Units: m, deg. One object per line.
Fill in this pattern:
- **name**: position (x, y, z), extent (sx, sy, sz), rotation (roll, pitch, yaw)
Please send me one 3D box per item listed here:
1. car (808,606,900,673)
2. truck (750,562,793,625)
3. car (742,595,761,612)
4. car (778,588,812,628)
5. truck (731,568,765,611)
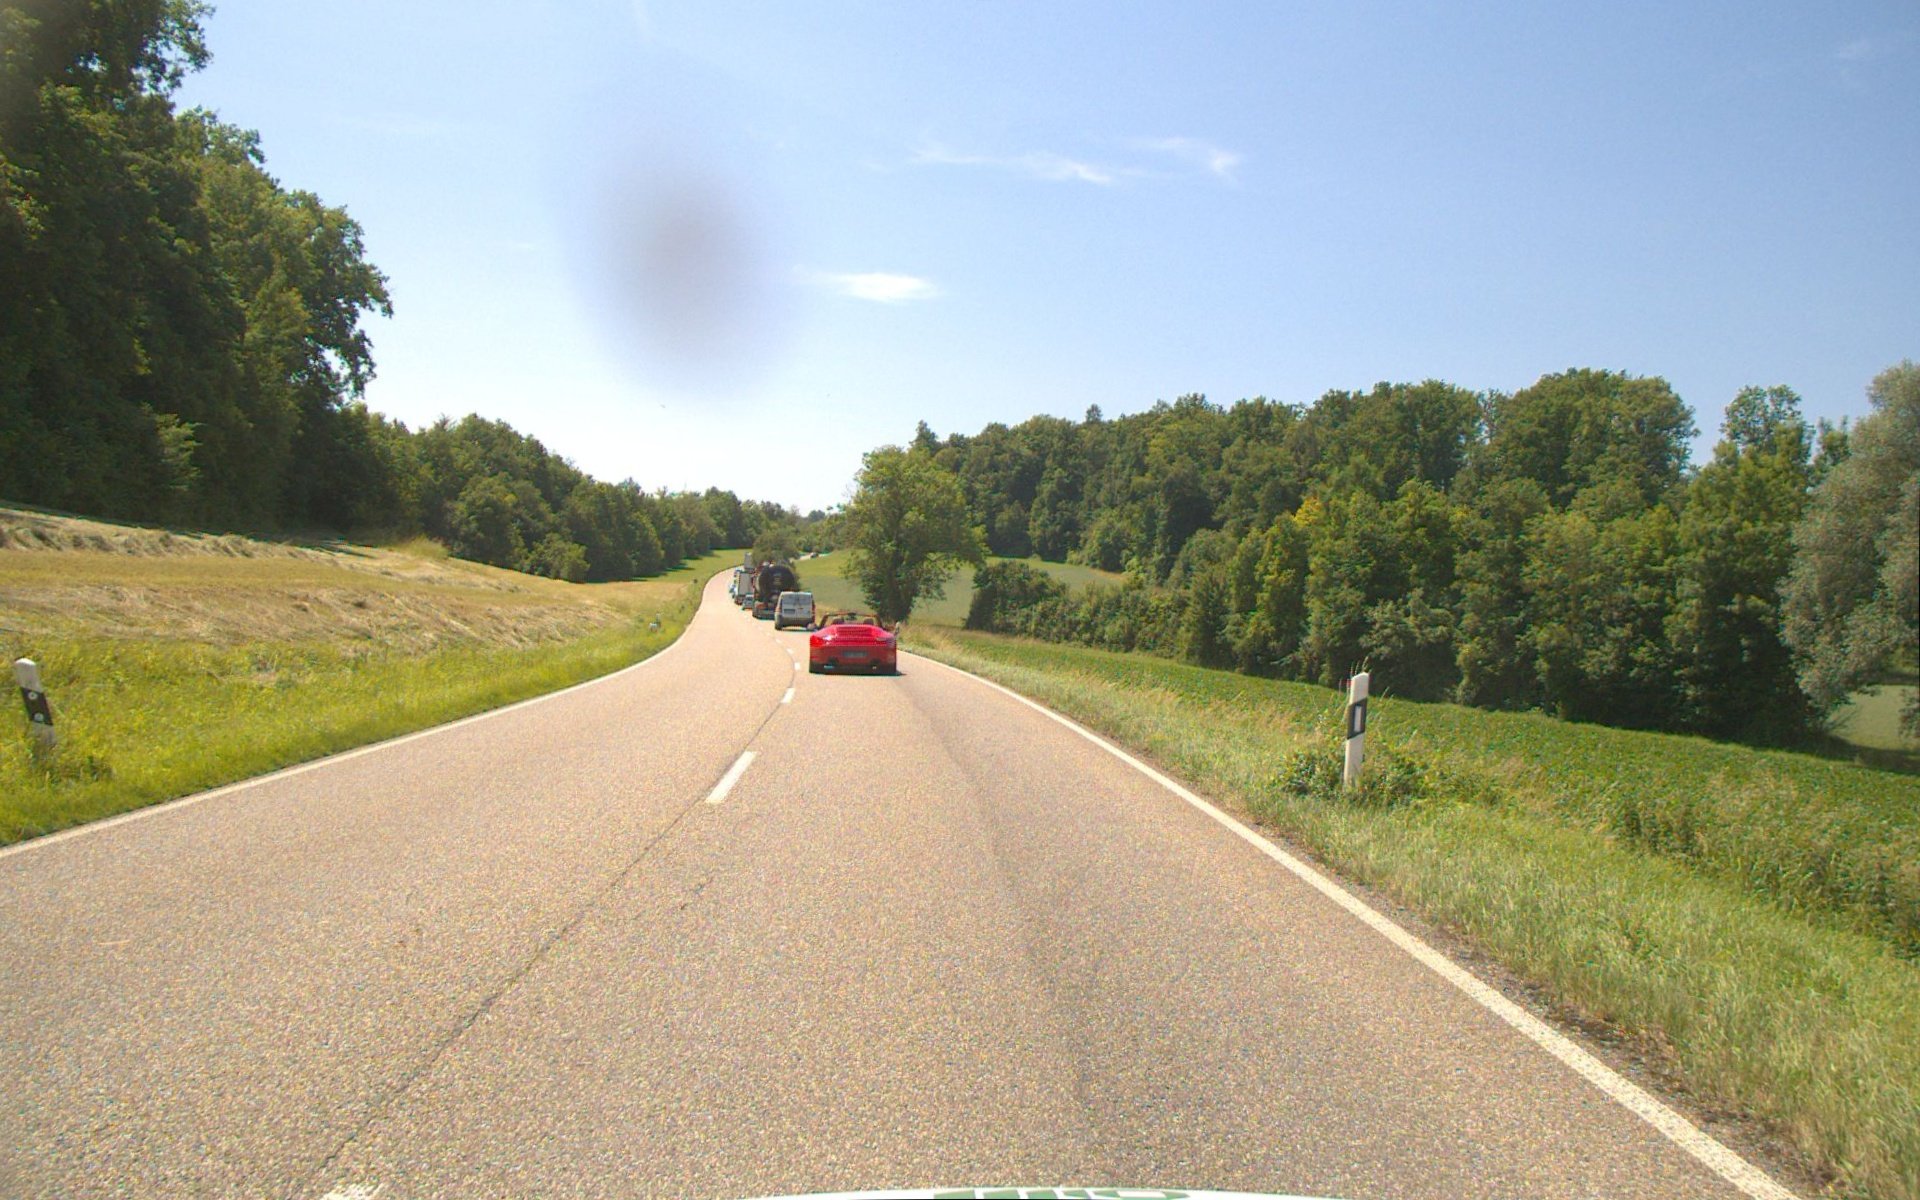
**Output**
- **car**: position (-2.231, 0.810, 35.605), extent (1.845, 1.277, 4.008), rotation (1, 0, -2)
- **truck**: position (-13.774, -0.568, 119.980), extent (2.360, 4.119, 12.524), rotation (1, 2, -10)
- **car**: position (-20.934, 0.319, 165.992), extent (1.690, 1.612, 4.152), rotation (1, 0, -9)
- **car**: position (-8.346, 0.372, 83.491), extent (1.646, 1.934, 4.004), rotation (1, 0, -6)
- **truck**: position (-26.365, -1.372, 205.322), extent (3.656, 4.741, 12.009), rotation (2, 2, -9)
